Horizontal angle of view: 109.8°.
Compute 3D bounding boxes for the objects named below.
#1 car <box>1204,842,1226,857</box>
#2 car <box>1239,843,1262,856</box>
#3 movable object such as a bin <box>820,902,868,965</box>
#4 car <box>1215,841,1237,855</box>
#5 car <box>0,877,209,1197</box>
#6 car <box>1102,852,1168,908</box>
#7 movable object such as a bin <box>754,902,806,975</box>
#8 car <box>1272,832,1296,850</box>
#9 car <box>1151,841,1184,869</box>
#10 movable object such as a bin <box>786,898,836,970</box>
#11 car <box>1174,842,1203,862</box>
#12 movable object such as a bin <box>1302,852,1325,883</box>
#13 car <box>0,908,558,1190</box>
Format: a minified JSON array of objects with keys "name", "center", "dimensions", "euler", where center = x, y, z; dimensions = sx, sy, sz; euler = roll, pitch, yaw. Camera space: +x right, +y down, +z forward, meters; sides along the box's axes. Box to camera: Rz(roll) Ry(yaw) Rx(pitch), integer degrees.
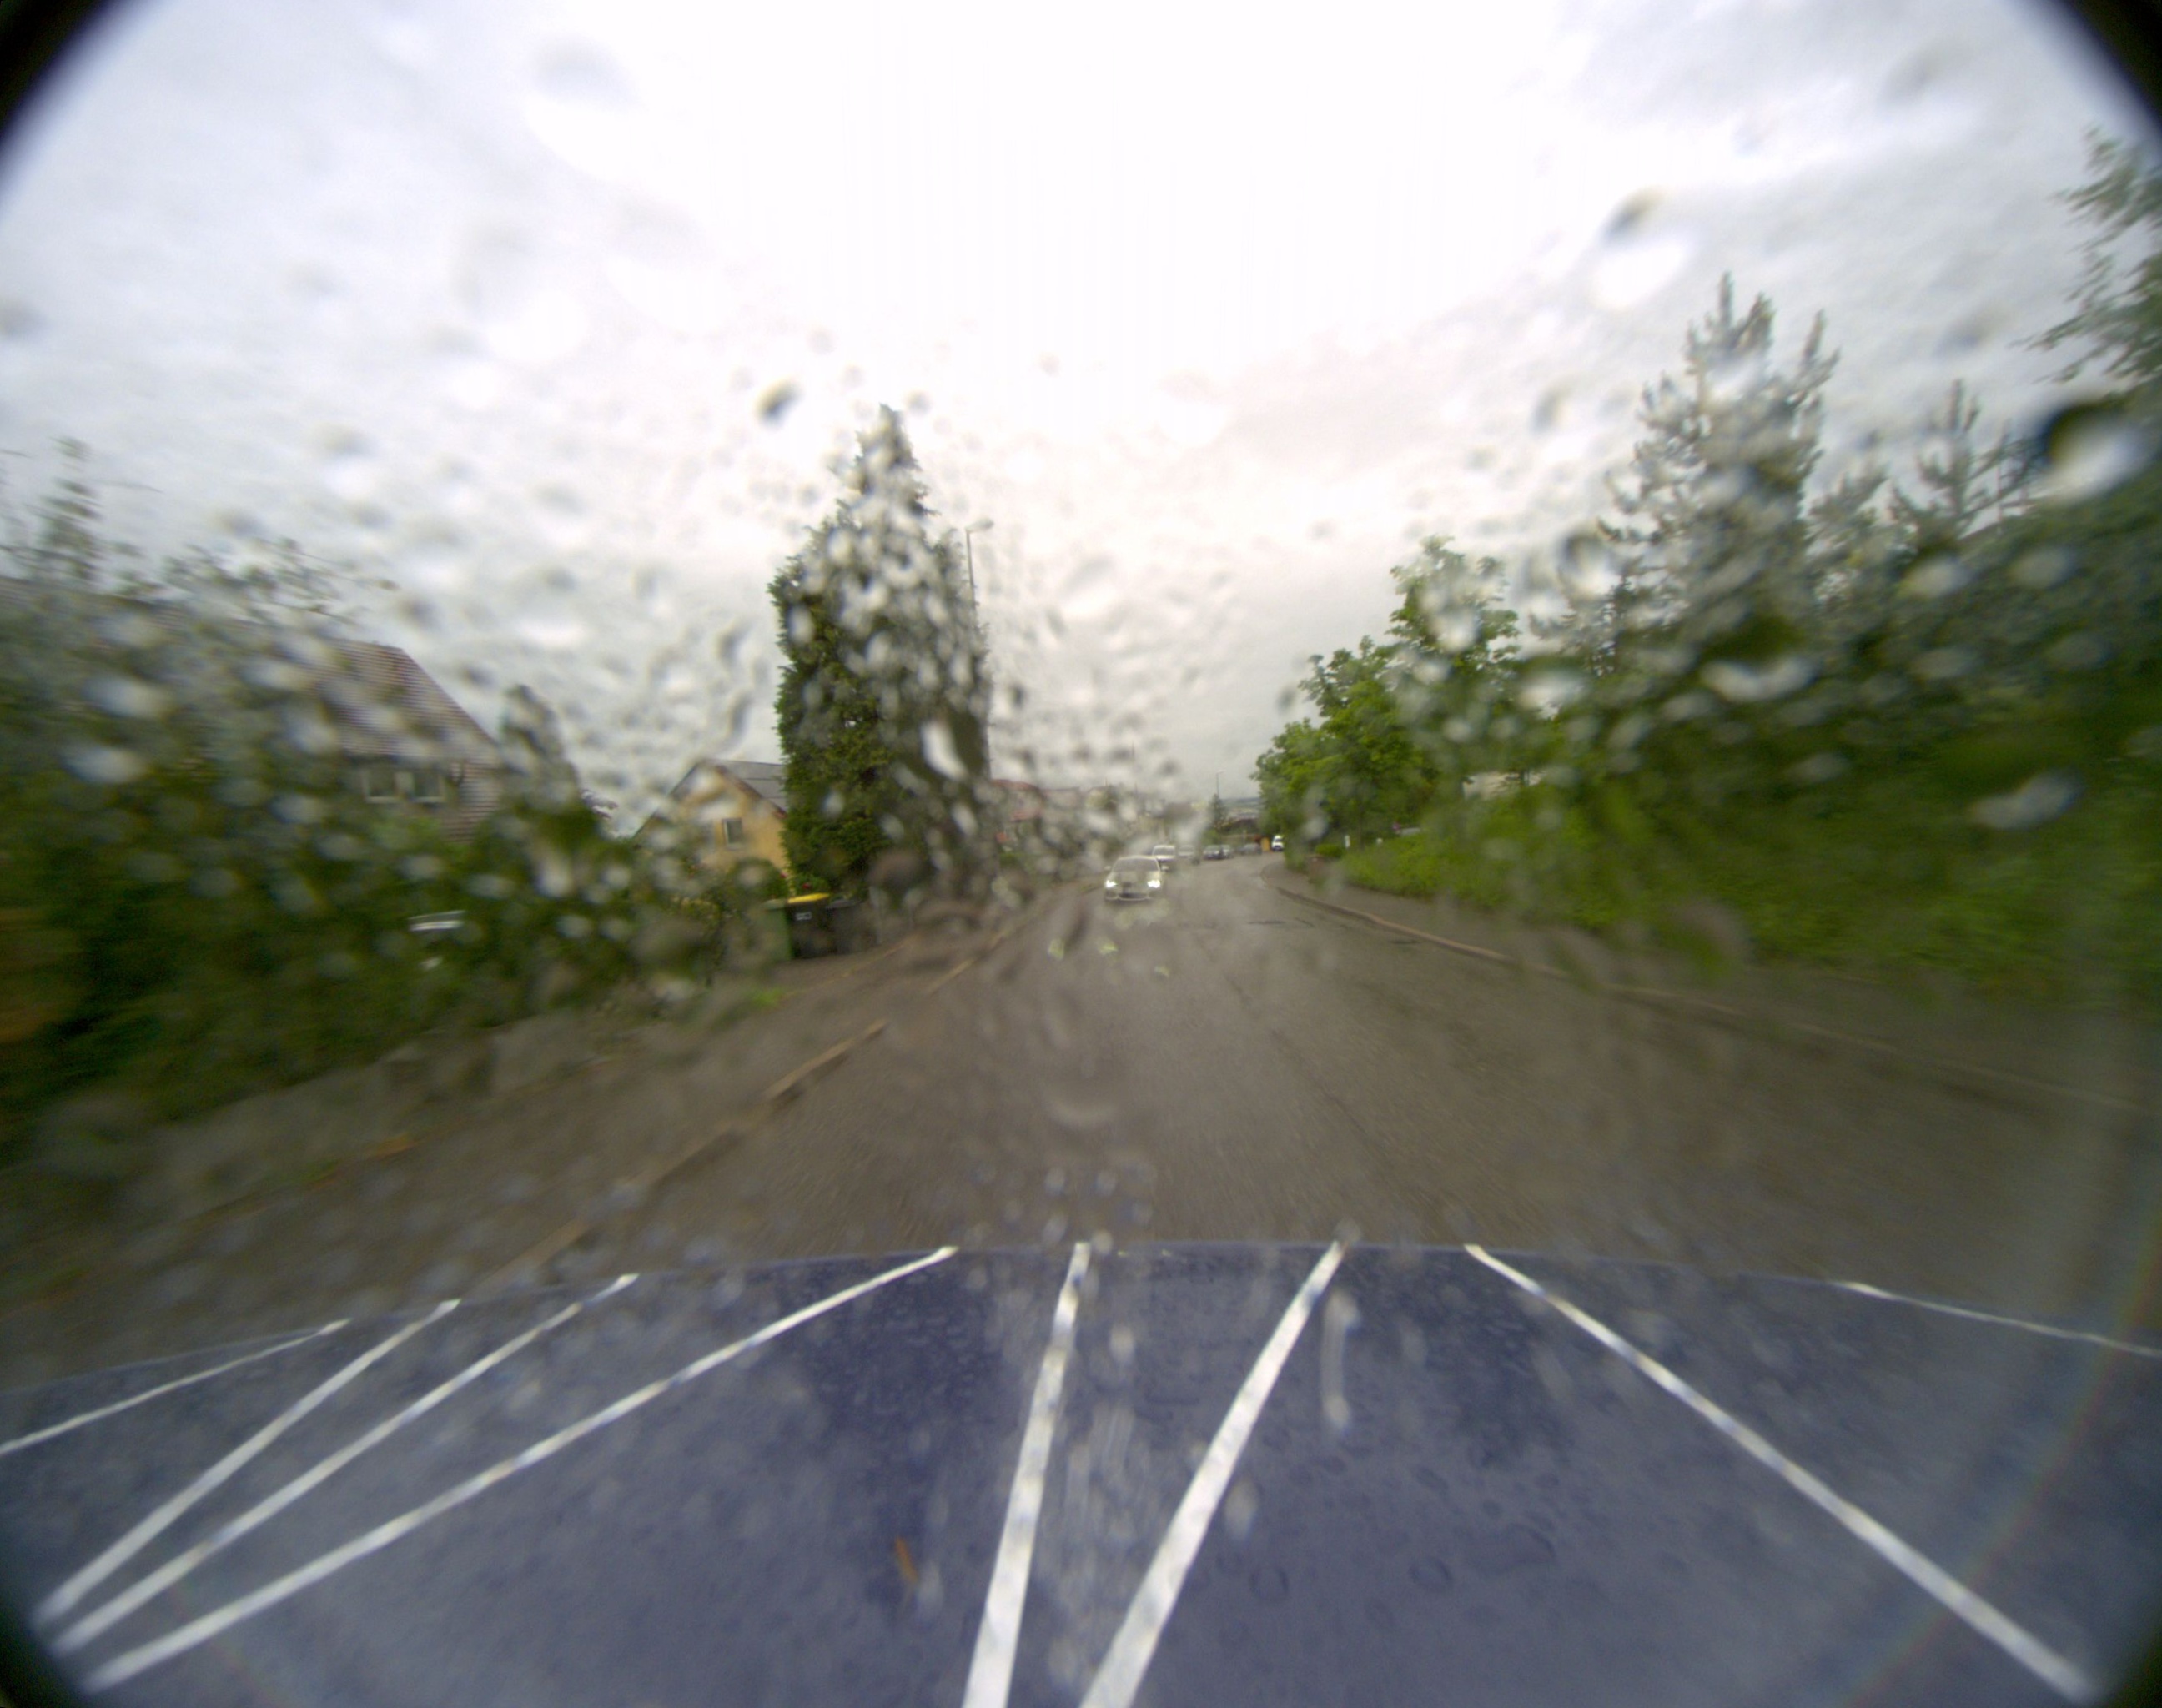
[{"name":"car","center":[14.183,-0.485,80.207],"dimensions":[1.661,1.459,3.768],"euler":[1,2,20]},{"name":"car","center":[22.137,-0.622,98.848],"dimensions":[1.859,1.518,5.071],"euler":[1,2,25]},{"name":"movable object such as a bin","center":[-4.030,1.350,12.940],"dimensions":[0.506,0.964,0.594],"euler":[-6,1,2]},{"name":"car","center":[16.247,-0.674,84.979],"dimensions":[1.770,1.459,4.240],"euler":[1,2,21]},{"name":"car","center":[-6.073,0.931,2.901],"dimensions":[1.632,1.485,3.424],"euler":[3,1,-4]},{"name":"car","center":[1.766,0.743,23.591],"dimensions":[1.797,1.455,4.001],"euler":[-1,2,7]},{"name":"movable object such as a bin","center":[-5.162,1.438,13.041],"dimensions":[0.523,1.131,0.594],"euler":[-6,1,2]},{"name":"car","center":[31.003,-2.024,115.843],"dimensions":[2.073,2.536,6.191],"euler":[0,2,29]},{"name":"car","center":[6.078,0.058,53.102],"dimensions":[1.781,1.793,4.710],"euler":[-1,1,12]},{"name":"movable object such as a bin","center":[-4.593,1.353,12.952],"dimensions":[0.506,1.111,0.594],"euler":[-6,1,2]},{"name":"car","center":[9.406,-0.208,66.113],"dimensions":[1.806,1.617,4.292],"euler":[1,2,18]},{"name":"movable object such as a bin","center":[8.669,0.502,28.408],"dimensions":[0.695,1.083,0.804],"euler":[-4,-3,13]},{"name":"car","center":[-8.067,1.785,7.943],"dimensions":[3.776,1.653,1.772],"euler":[-9,6,-21]}]
